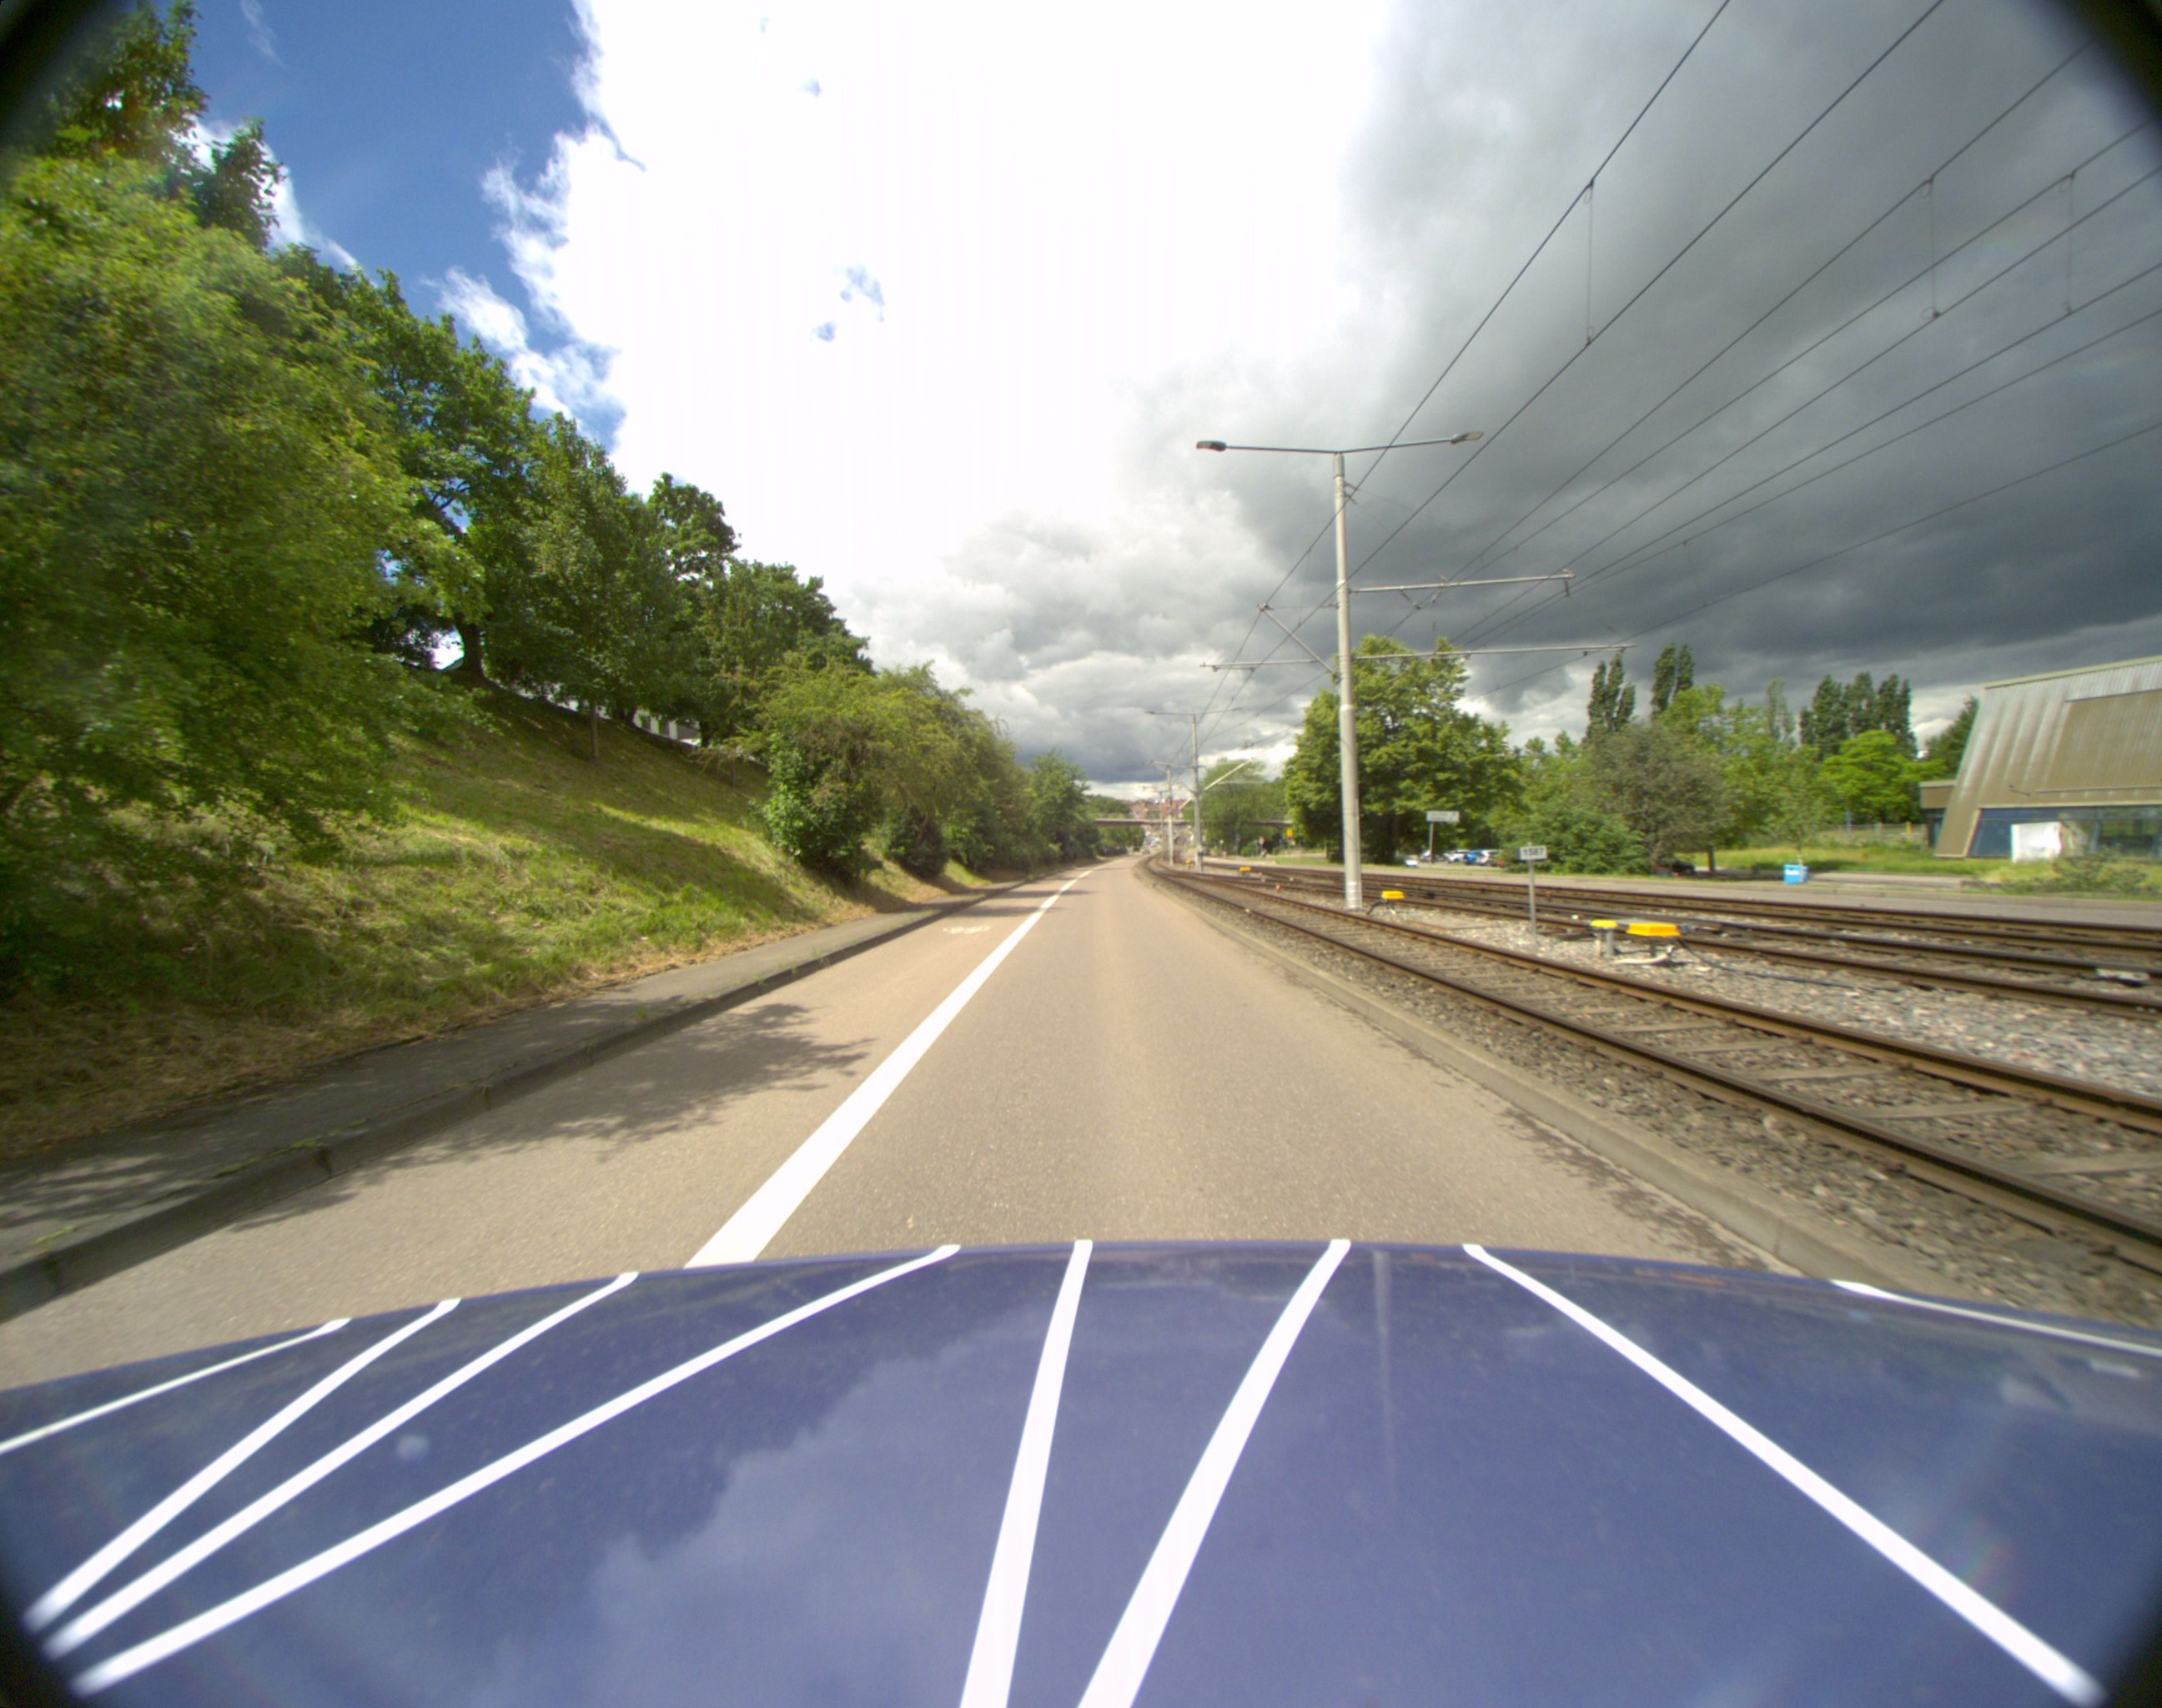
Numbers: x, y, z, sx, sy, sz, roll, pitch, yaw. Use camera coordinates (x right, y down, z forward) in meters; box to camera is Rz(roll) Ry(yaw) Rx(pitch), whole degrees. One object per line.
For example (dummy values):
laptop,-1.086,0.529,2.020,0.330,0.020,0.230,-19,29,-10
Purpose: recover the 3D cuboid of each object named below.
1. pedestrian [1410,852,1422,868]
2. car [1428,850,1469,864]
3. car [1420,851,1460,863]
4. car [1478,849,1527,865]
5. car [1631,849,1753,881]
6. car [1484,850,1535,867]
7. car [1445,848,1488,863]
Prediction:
pedestrian,31.336,0.574,71.080,0.822,1.488,0.682,0,1,-24
car,41.927,0.359,86.818,3.868,1.526,1.627,0,1,2
car,42.481,0.328,89.932,3.868,1.412,1.627,0,0,2
car,41.816,0.315,75.411,3.868,1.526,1.627,0,1,2
car,27.472,0.468,34.294,3.928,1.401,1.761,0,1,12
car,40.942,0.424,72.662,3.868,1.526,1.627,0,1,2
car,41.942,0.168,82.635,3.868,1.526,1.627,0,1,2
